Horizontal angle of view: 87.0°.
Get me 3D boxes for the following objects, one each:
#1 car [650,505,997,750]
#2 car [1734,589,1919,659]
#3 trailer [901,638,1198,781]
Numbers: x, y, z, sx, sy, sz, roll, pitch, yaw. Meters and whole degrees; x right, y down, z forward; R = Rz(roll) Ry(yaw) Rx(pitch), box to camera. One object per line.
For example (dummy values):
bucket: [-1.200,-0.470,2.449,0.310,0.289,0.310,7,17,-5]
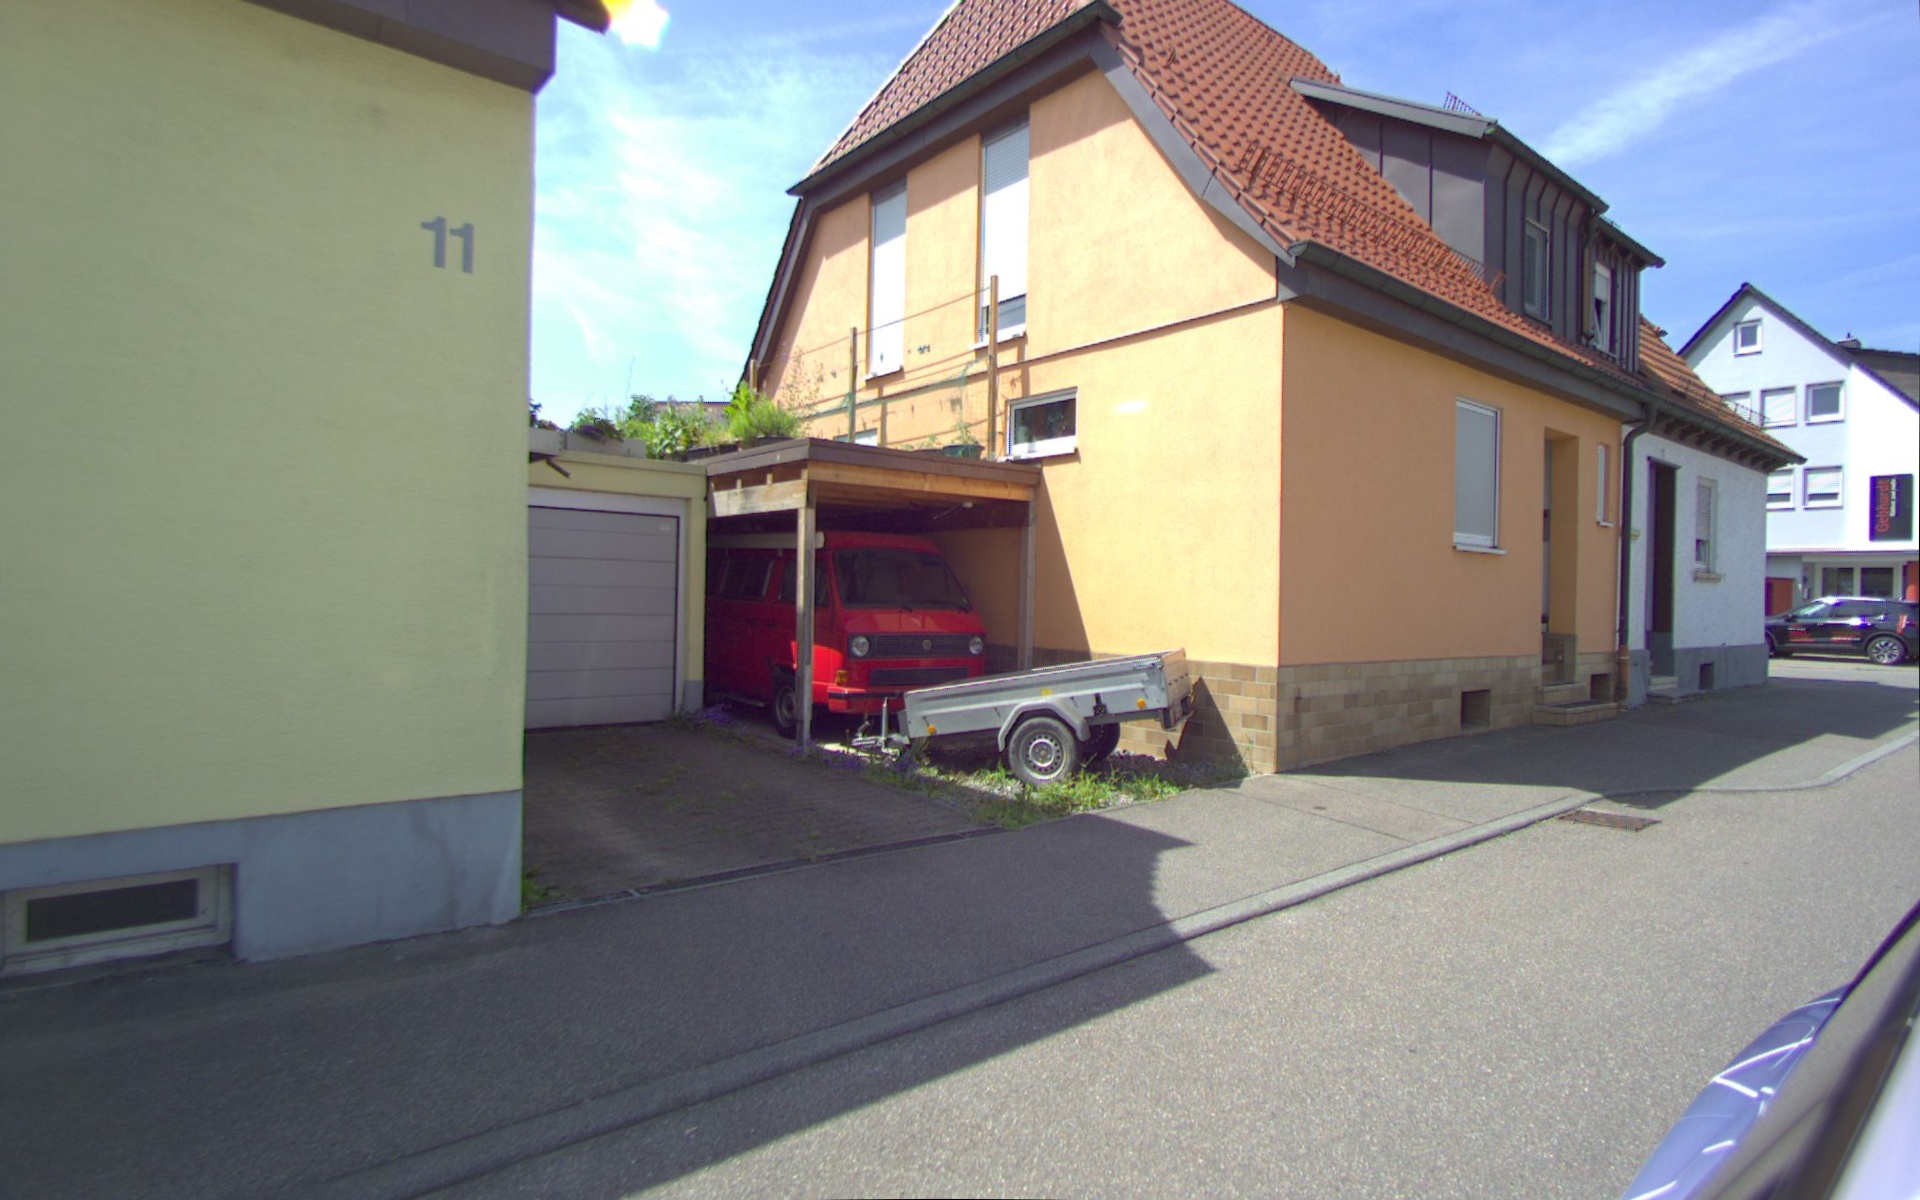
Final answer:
car: [-1.653,0.213,10.880,1.803,2.097,4.221,0,0,-38]
car: [22.878,0.561,26.073,1.811,1.674,4.311,0,0,-30]
trailer: [0.740,0.806,8.081,2.116,0.911,1.234,0,0,22]
